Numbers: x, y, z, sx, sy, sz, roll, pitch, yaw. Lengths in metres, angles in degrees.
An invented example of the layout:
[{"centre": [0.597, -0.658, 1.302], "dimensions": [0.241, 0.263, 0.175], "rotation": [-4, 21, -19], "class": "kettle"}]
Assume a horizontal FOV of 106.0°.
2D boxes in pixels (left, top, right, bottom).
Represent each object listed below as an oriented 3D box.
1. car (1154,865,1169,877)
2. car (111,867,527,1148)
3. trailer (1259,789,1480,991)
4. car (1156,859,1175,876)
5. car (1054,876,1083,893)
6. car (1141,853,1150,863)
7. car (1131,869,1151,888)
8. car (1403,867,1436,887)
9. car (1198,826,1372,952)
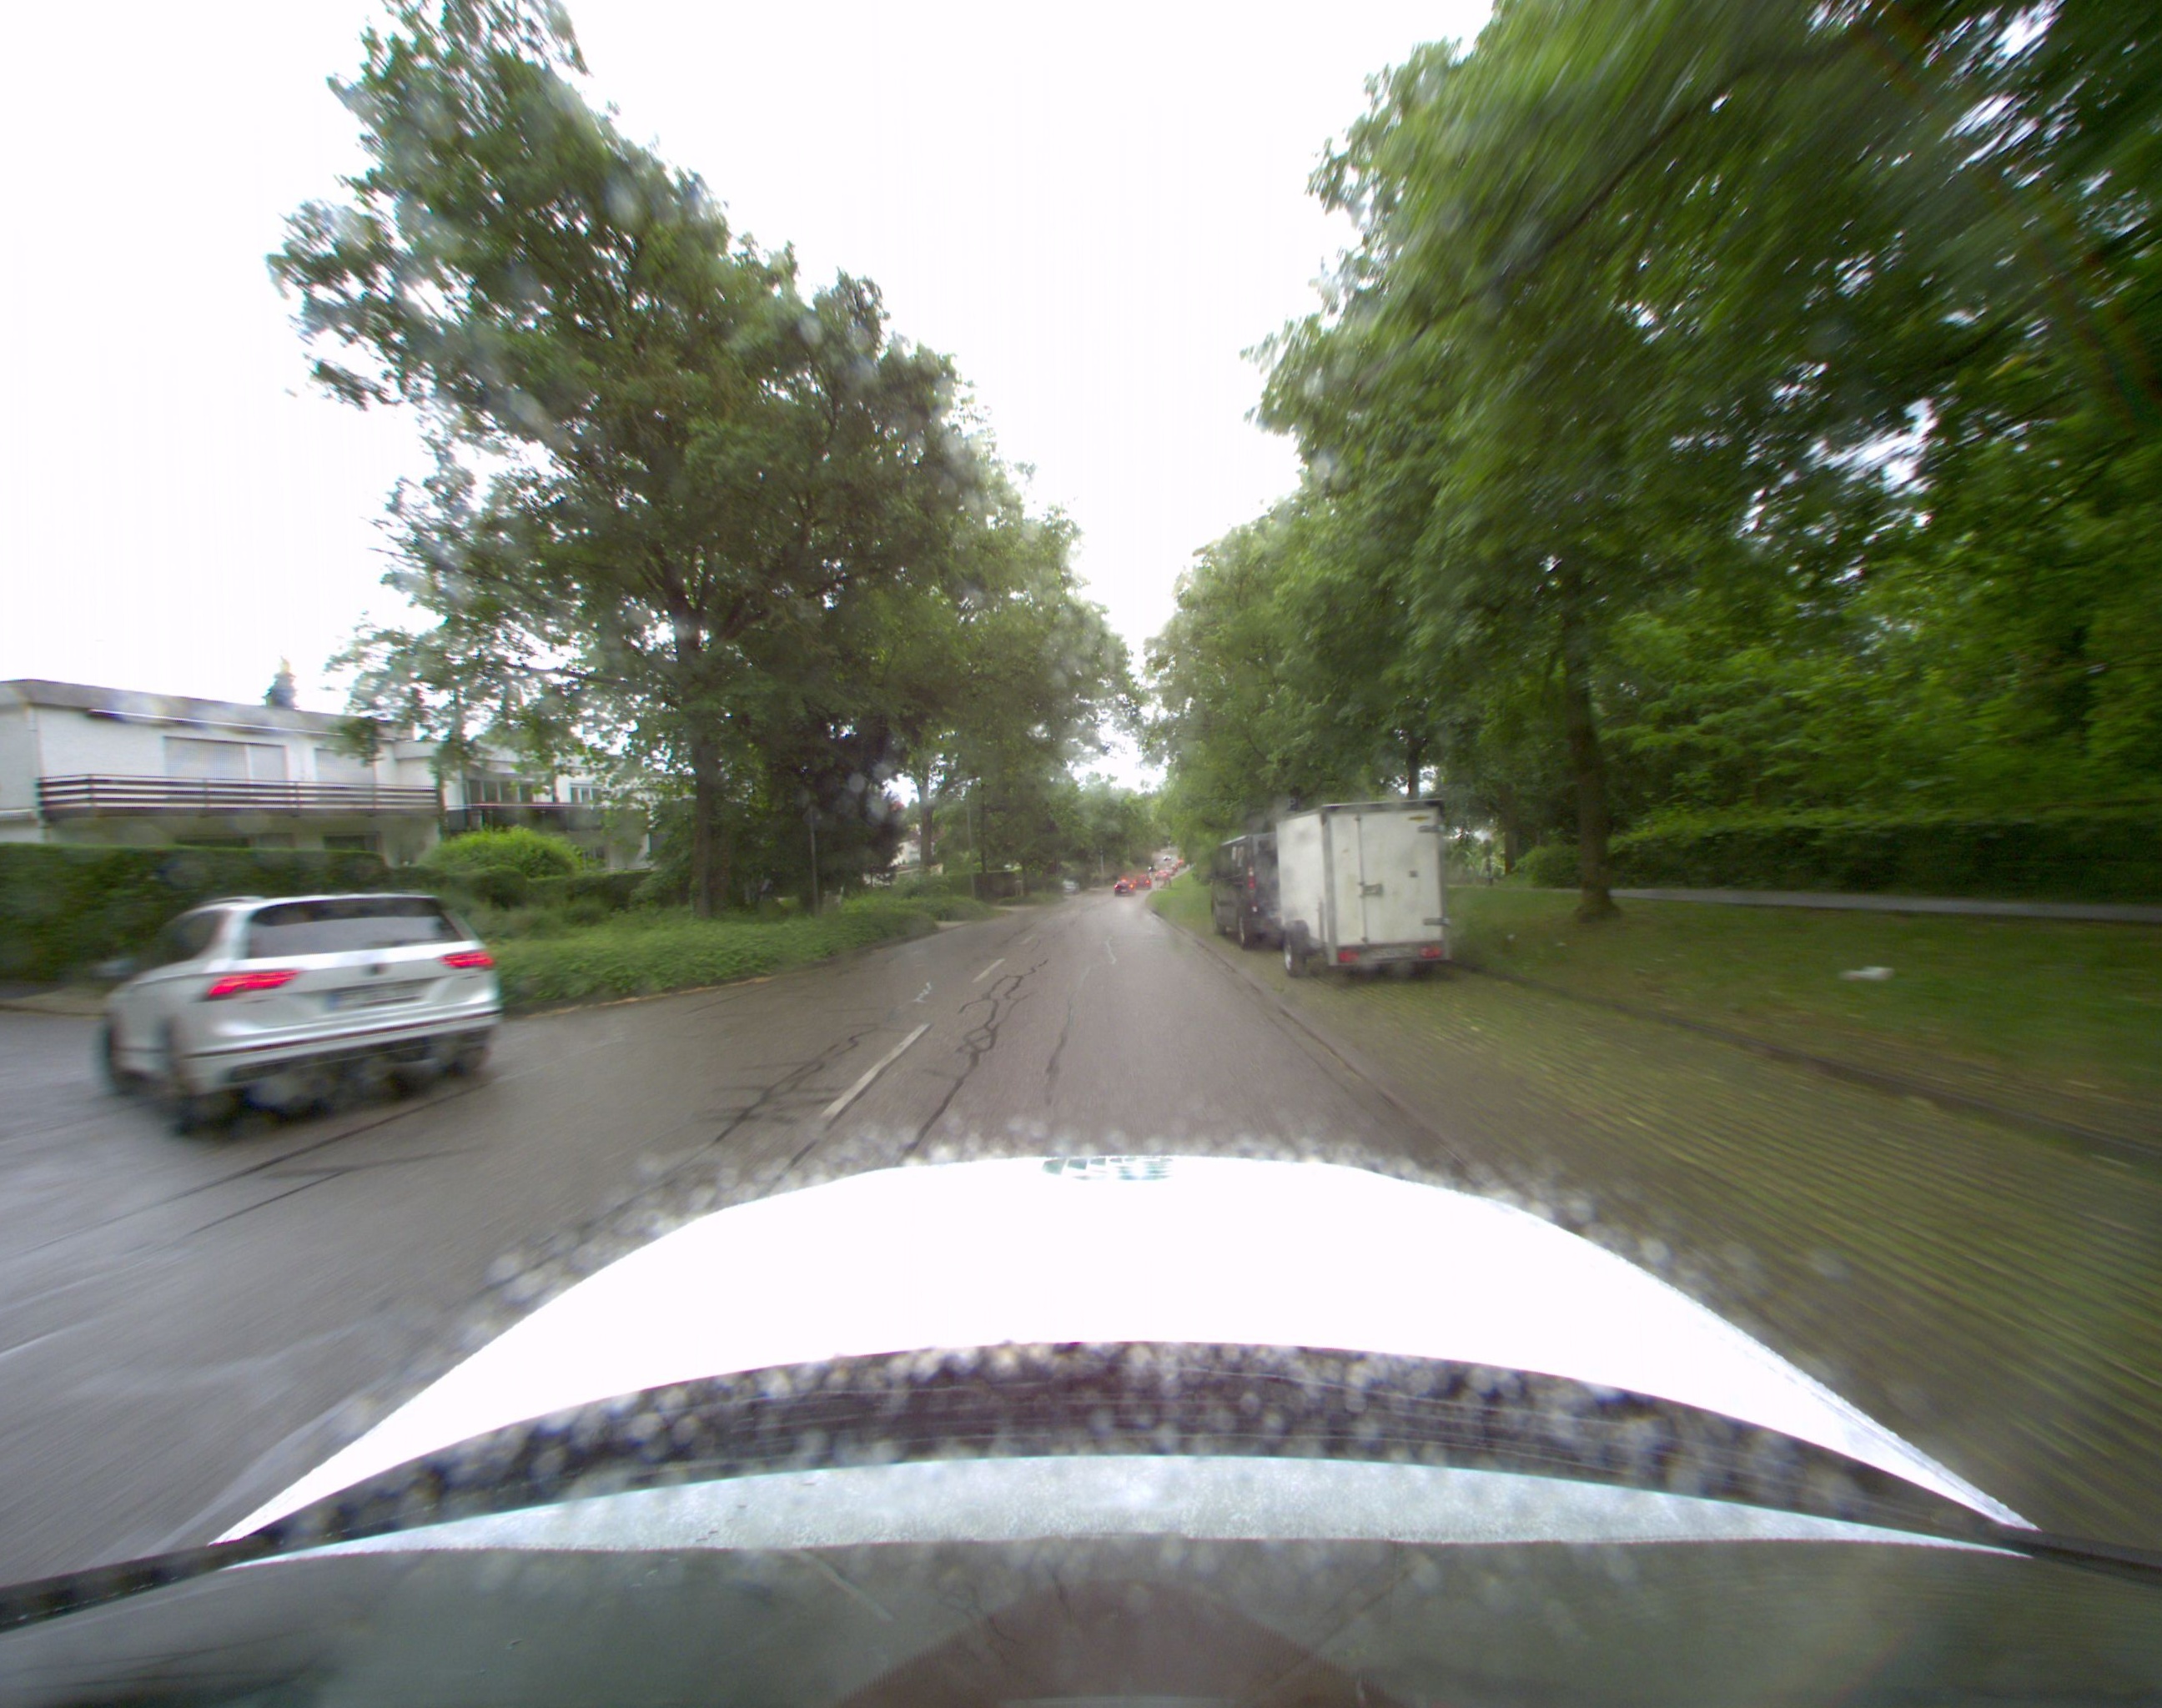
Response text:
[{"centre": [12.307, 2.566, 124.361], "dimensions": [1.850, 1.692, 4.000], "rotation": [-2, -2, 1], "class": "car"}, {"centre": [-6.865, 1.135, 7.207], "dimensions": [4.145, 1.685, 1.924], "rotation": [-5, -1, 37], "class": "car"}, {"centre": [3.538, 0.413, 10.762], "dimensions": [1.524, 2.075, 4.002], "rotation": [-4, -1, 2], "class": "trailer"}, {"centre": [10.582, 1.769, 102.101], "dimensions": [1.987, 2.014, 4.000], "rotation": [-2, -2, 1], "class": "car"}, {"centre": [-1.223, 3.125, 84.205], "dimensions": [1.979, 1.599, 4.024], "rotation": [-3, -2, 13], "class": "car"}, {"centre": [14.271, 0.871, 180.772], "dimensions": [1.985, 2.013, 4.005], "rotation": [-2, 4, 3], "class": "car"}, {"centre": [6.873, 2.795, 93.283], "dimensions": [1.987, 2.014, 4.000], "rotation": [-2, -2, 1], "class": "car"}, {"centre": [29.910, 2.051, 72.085], "dimensions": [1.797, 1.631, 4.011], "rotation": [-3, -2, 10], "class": "car"}, {"centre": [3.642, 0.609, 15.708], "dimensions": [1.986, 1.910, 5.509], "rotation": [-3, -1, 1], "class": "car"}]
